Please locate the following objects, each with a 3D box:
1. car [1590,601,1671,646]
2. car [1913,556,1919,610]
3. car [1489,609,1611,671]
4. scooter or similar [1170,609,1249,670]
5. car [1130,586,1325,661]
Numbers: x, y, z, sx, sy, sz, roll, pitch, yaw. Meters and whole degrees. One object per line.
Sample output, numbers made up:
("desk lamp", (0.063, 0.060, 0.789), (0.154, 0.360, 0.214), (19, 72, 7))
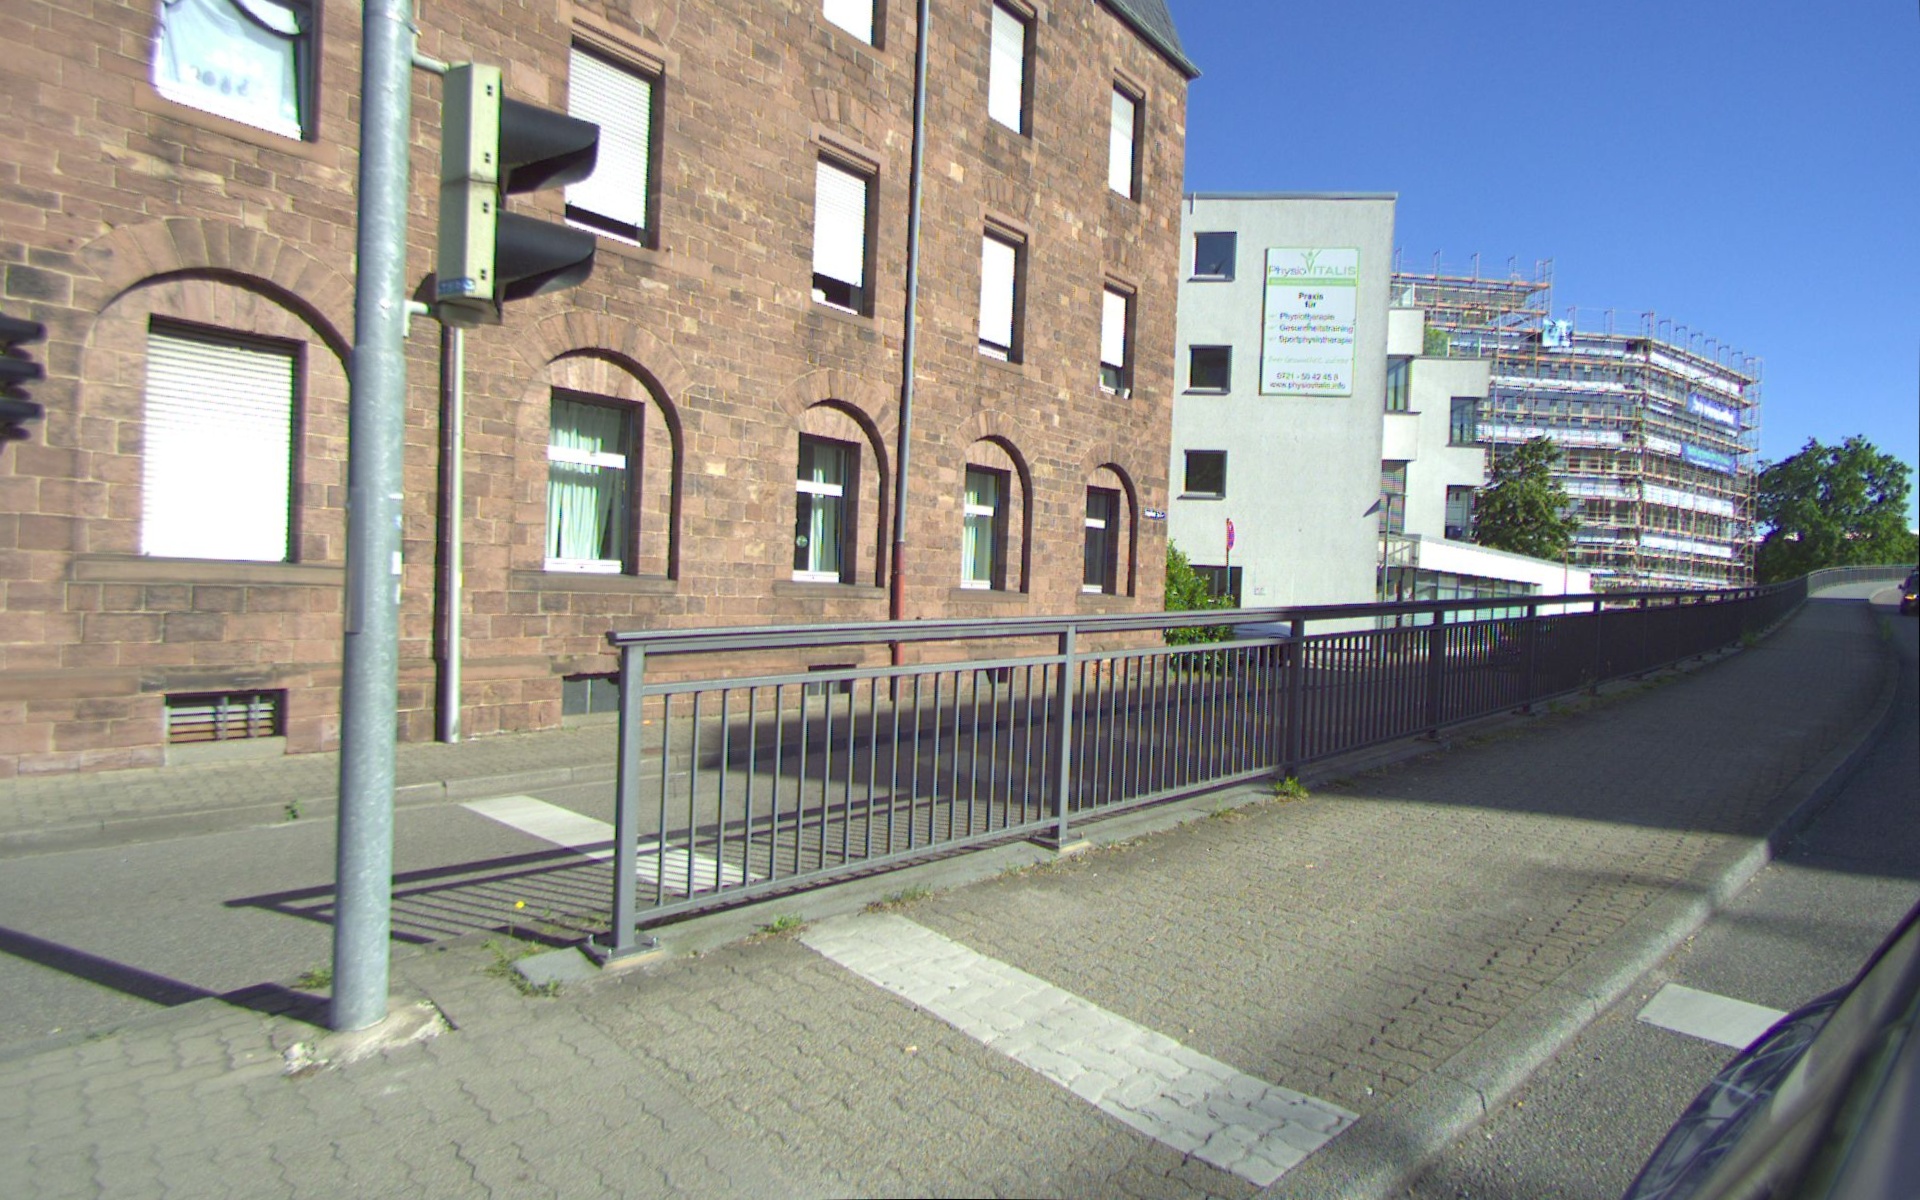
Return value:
("car", (26.135, 0.881, 39.391), (1.846, 1.554, 3.935), (4, 2, 45))
("car", (42.090, -0.736, 43.135), (1.903, 2.241, 4.531), (2, 2, 41))
("car", (17.000, 1.079, 29.078), (4.605, 1.448, 1.846), (-1, 2, -44))
("scooter or similar", (5.281, 0.817, 21.439), (1.455, 1.235, 0.774), (0, -1, 39))
("car", (6.764, 0.567, 26.033), (4.567, 1.789, 1.826), (0, 1, 5))
